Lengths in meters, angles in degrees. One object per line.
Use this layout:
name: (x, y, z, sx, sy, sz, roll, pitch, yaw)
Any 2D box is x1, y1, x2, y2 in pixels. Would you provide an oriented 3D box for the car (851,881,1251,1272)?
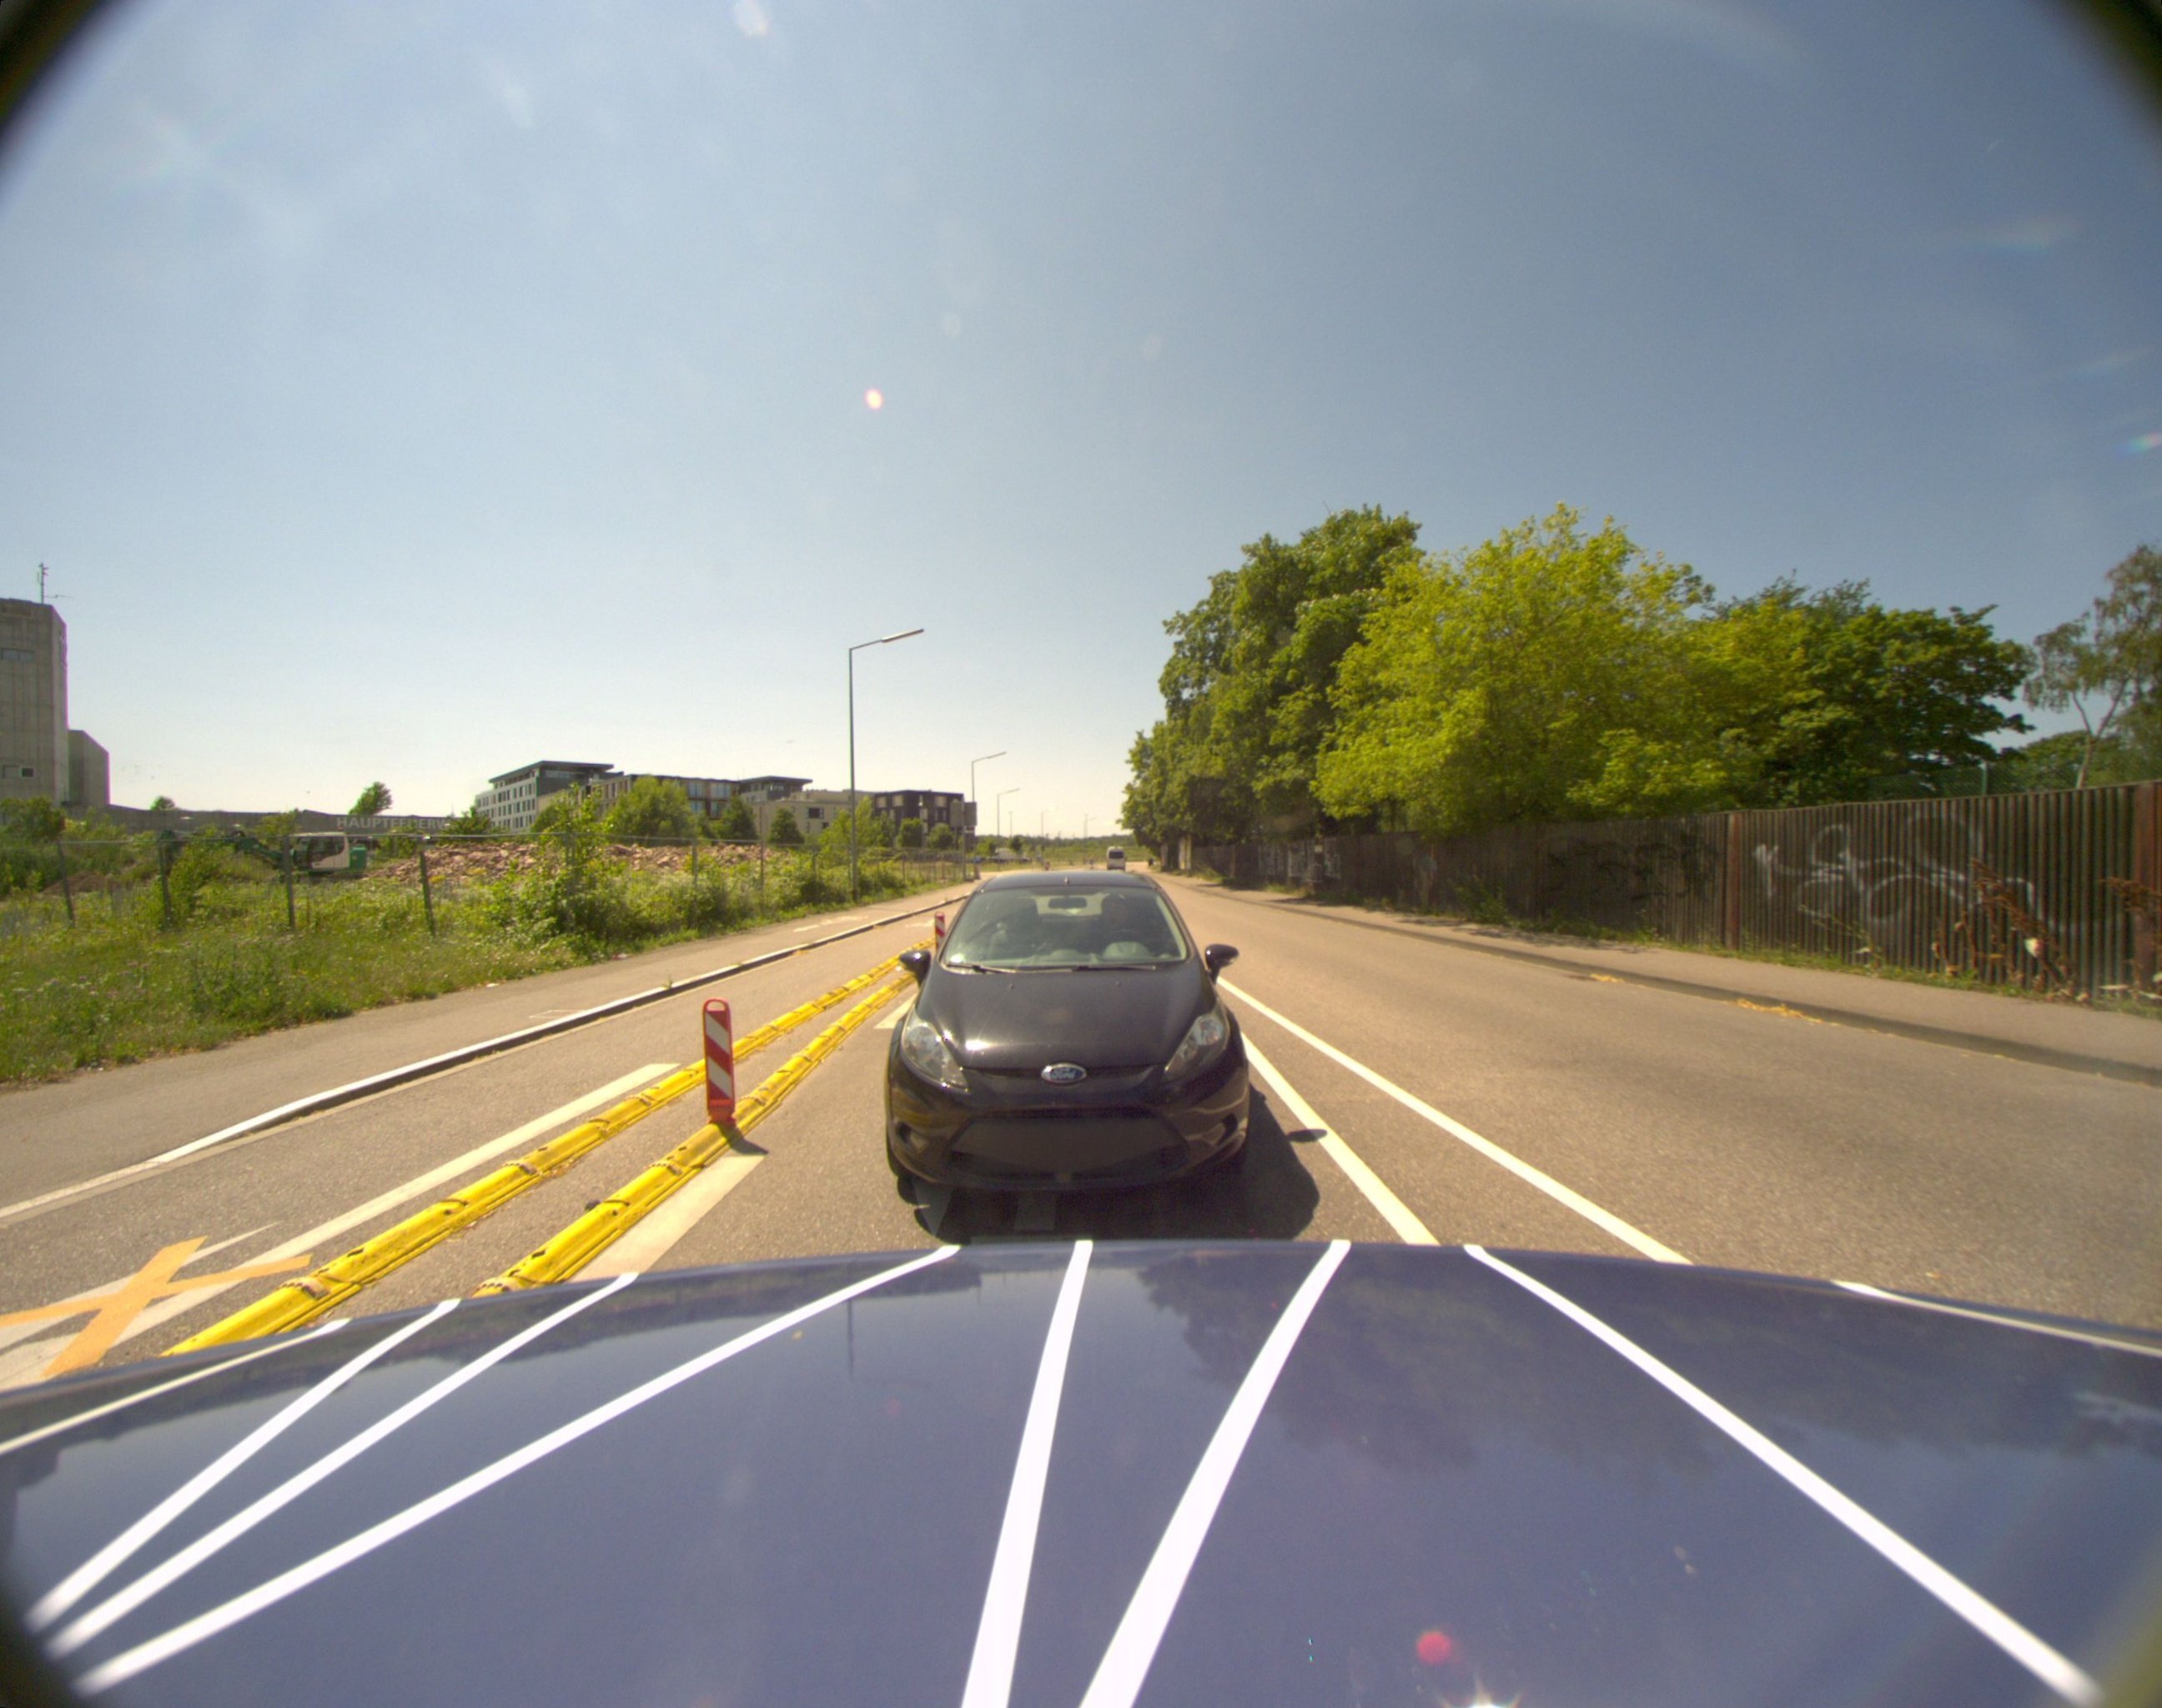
car: (-0.101, 0.986, 5.119, 1.602, 1.422, 4.000, -2, 0, 1)

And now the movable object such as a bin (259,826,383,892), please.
movable object such as a bin: (-37.633, 0.225, 37.768, 2.204, 3.045, 3.690, -2, 1, 6)

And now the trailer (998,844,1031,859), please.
trailer: (-15.141, -0.663, 174.430, 8.194, 3.329, 1.994, -1, 0, -45)

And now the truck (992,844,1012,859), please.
truck: (-17.897, -0.661, 171.690, 4.008, 3.316, 1.994, -1, 1, -45)

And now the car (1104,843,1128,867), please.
car: (3.713, 0.107, 82.692, 2.025, 2.524, 6.825, 0, 0, -2)
